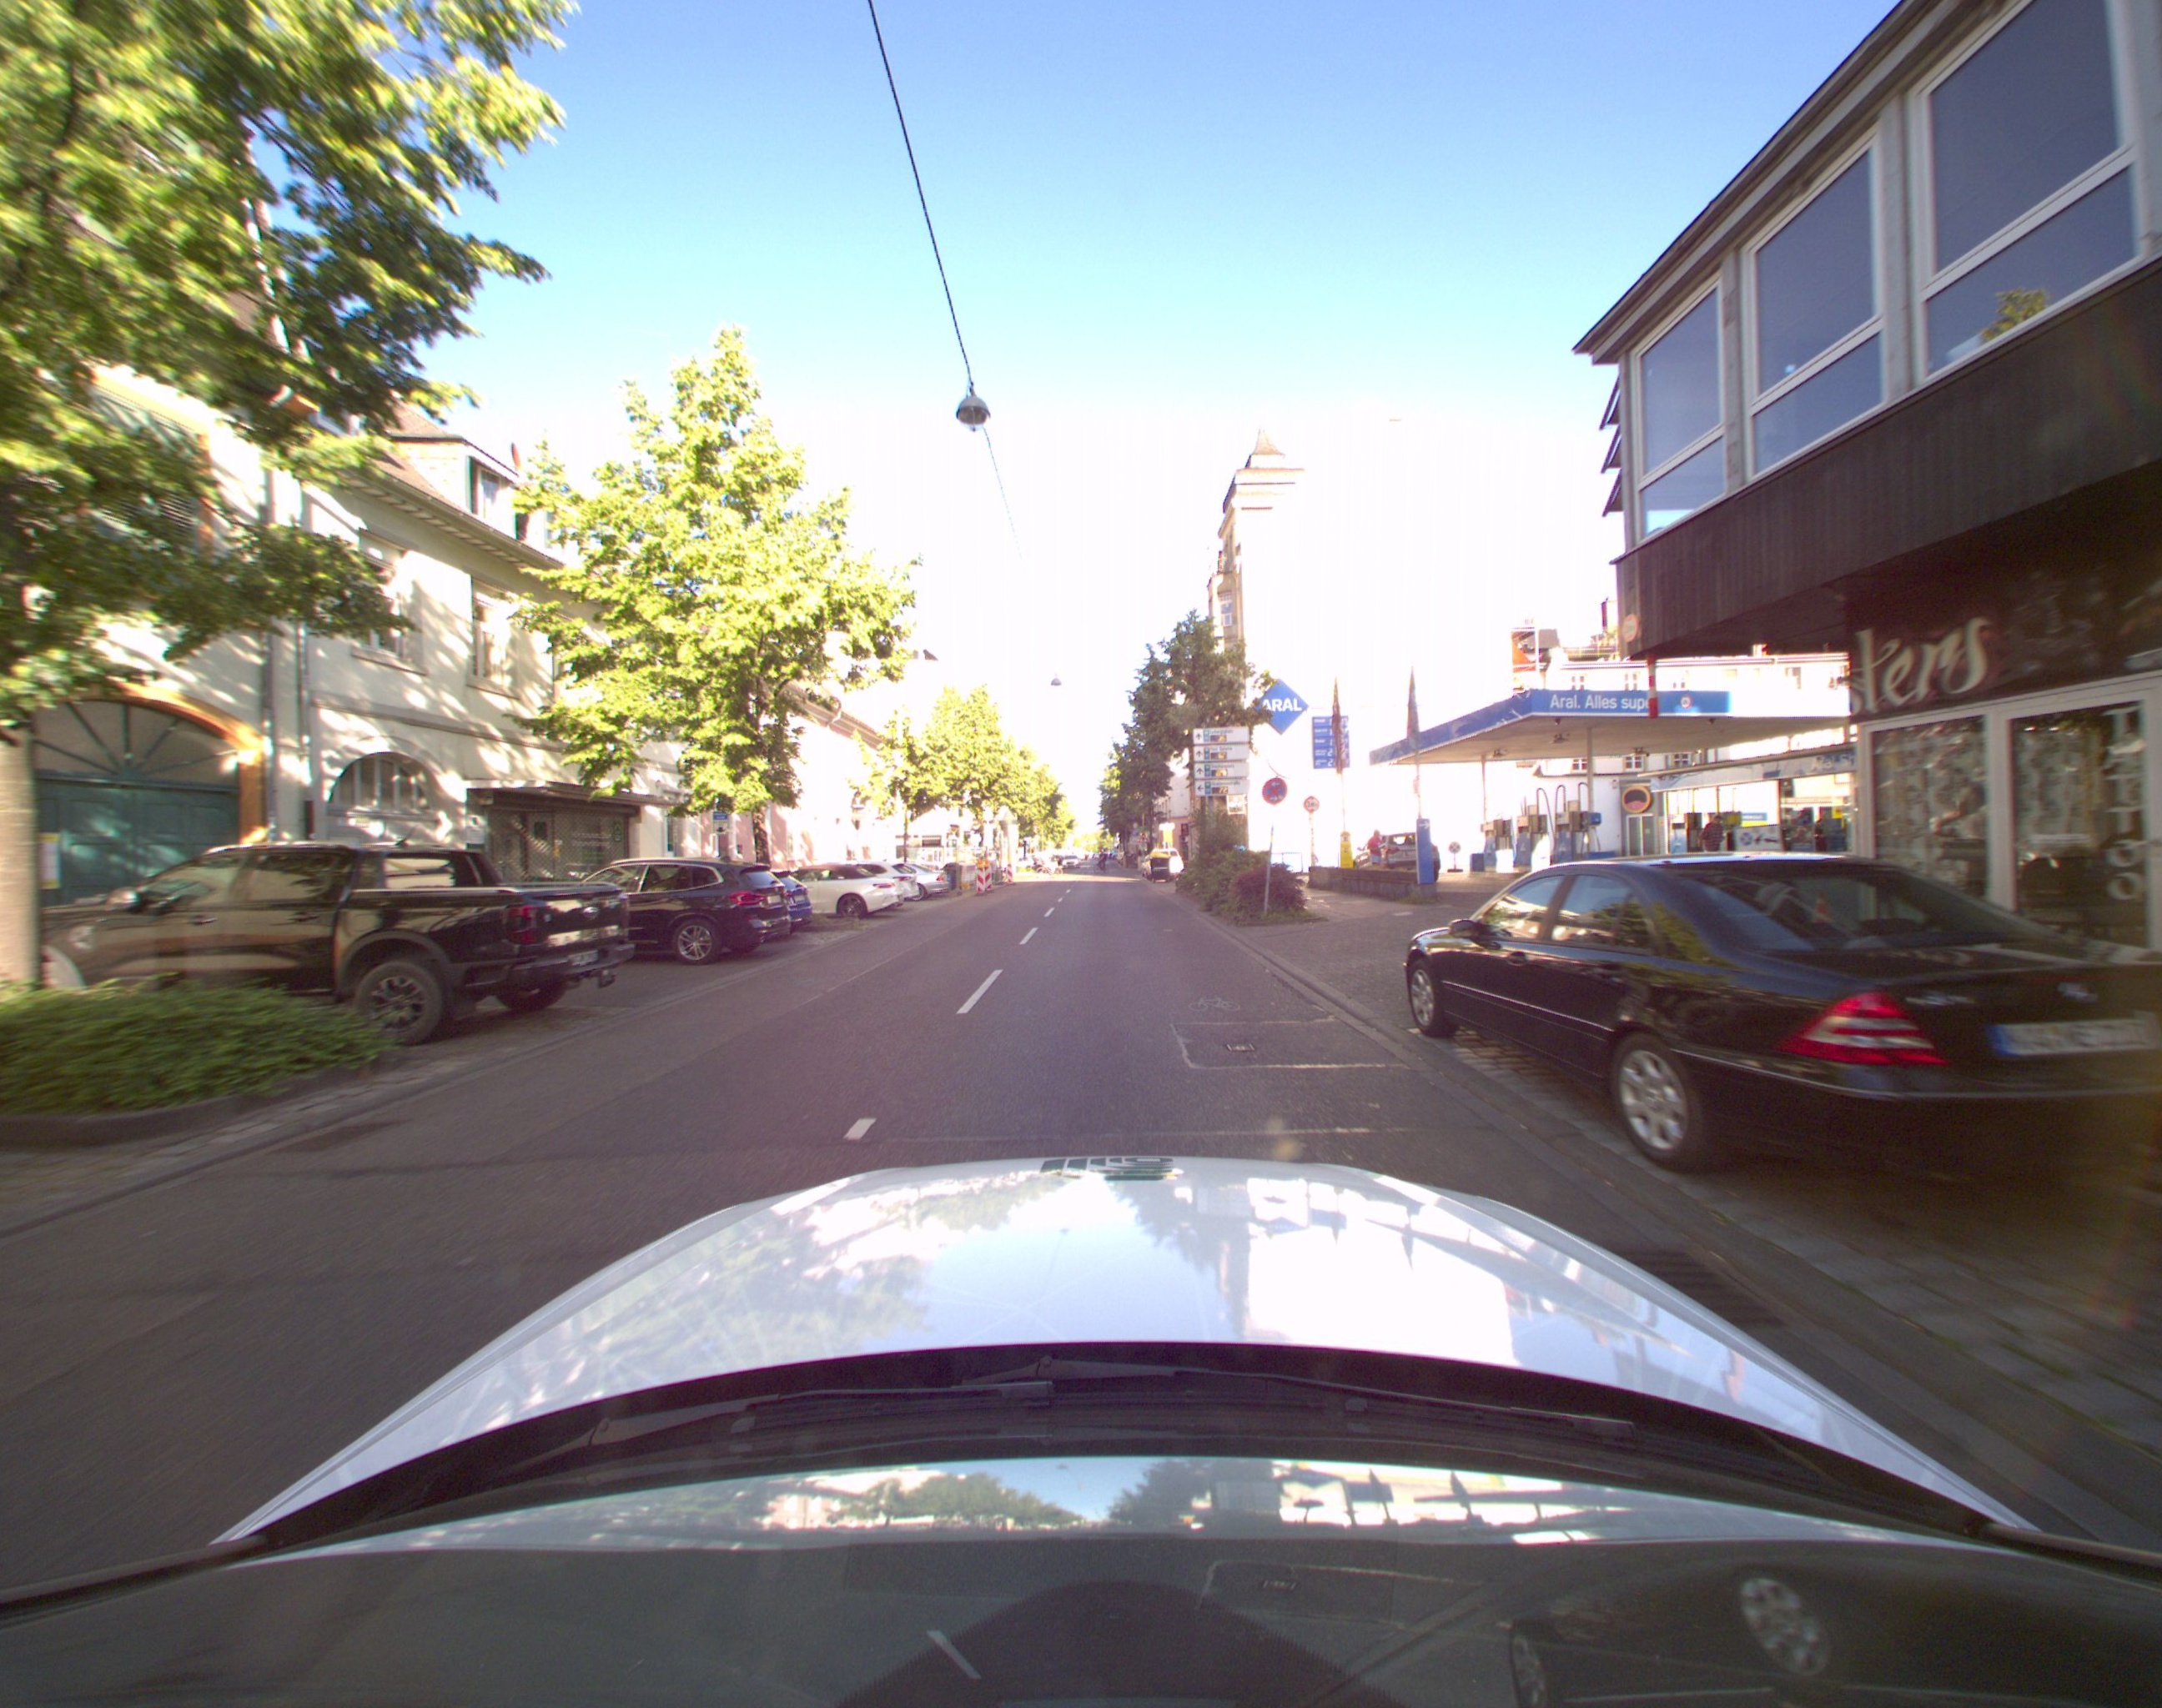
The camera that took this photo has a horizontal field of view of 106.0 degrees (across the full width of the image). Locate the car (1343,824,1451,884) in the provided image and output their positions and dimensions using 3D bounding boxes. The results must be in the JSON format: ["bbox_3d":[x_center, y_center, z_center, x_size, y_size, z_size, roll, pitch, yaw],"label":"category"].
[{"bbox_3d":[9.960,-0.006,26.010,1.893,1.648,4.296,-3,0,3],"label":"car"}]

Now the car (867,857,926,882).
[{"bbox_3d":[-13.699,1.124,60.318,4.001,1.610,1.986,-3,0,-20],"label":"car"}]

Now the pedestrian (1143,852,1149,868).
[{"bbox_3d":[6.976,0.599,86.828,0.545,1.649,0.665,-2,0,2],"label":"pedestrian"}]

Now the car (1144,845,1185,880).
[{"bbox_3d":[4.571,0.442,45.199,1.815,1.679,4.602,-4,0,2],"label":"car"}]

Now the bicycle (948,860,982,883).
[{"bbox_3d":[-6.682,1.012,46.941,1.775,1.252,0.602,-1,0,12],"label":"bicycle"}]

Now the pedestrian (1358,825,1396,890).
[{"bbox_3d":[8.708,0.110,23.961,0.710,1.850,0.683,-3,0,-22],"label":"pedestrian"}]

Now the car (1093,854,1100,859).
[{"bbox_3d":[4.169,0.711,221.571,1.786,1.411,4.001,-2,0,1],"label":"car"}]

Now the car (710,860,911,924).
[{"bbox_3d":[-7.029,0.960,21.518,4.668,1.465,1.807,-1,0,-2],"label":"car"}]

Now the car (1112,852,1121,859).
[{"bbox_3d":[7.733,0.377,178.090,1.987,1.508,4.000,-1,-1,1],"label":"car"}]

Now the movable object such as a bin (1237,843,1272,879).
[{"bbox_3d":[7.849,0.312,36.903,1.267,1.530,1.176,-3,0,-1],"label":"movable object such as a bin"}]

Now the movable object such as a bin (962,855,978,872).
[{"bbox_3d":[-9.855,0.853,72.344,1.168,1.485,1.314,-2,0,-1],"label":"movable object such as a bin"}]

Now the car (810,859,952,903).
[{"bbox_3d":[-7.140,0.961,29.489,4.668,1.412,1.807,-1,0,-2],"label":"car"}]

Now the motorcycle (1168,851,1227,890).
[{"bbox_3d":[4.353,0.603,30.544,1.978,1.330,0.908,-2,0,-11],"label":"motorcycle"}]

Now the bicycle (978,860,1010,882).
[{"bbox_3d":[-5.126,0.981,48.113,1.852,1.252,0.599,-1,0,-7],"label":"bicycle"}]

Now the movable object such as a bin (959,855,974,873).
[{"bbox_3d":[-9.963,0.838,70.889,1.137,1.485,1.235,-2,0,-1],"label":"movable object such as a bin"}]

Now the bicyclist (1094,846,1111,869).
[{"bbox_3d":[1.667,0.256,63.237,0.712,1.693,1.164,-2,0,36],"label":"bicyclist"}]

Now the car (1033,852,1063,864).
[{"bbox_3d":[-4.643,0.565,114.734,3.974,1.500,2.000,-2,0,0],"label":"car"}]

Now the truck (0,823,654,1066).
[{"bbox_3d":[-7.413,0.803,8.188,5.067,1.938,2.000,-3,0,0],"label":"truck"}]

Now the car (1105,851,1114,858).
[{"bbox_3d":[6.909,0.188,197.708,1.987,1.508,4.000,-1,-1,1],"label":"car"}]

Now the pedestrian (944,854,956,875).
[{"bbox_3d":[-10.413,0.845,64.671,0.768,1.643,0.690,-2,0,1],"label":"pedestrian"}]

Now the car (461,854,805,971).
[{"bbox_3d":[-7.234,0.910,13.465,4.662,1.693,1.809,-1,0,2],"label":"car"}]

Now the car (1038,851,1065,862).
[{"bbox_3d":[-4.484,0.407,125.507,3.974,1.500,2.000,-2,0,0],"label":"car"}]

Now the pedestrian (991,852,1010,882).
[{"bbox_3d":[-4.714,0.755,47.771,0.797,1.707,0.759,-1,0,-32],"label":"pedestrian"}]

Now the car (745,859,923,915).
[{"bbox_3d":[-7.183,0.945,24.082,4.668,1.465,1.807,-1,0,-2],"label":"car"}]

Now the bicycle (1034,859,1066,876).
[{"bbox_3d":[-2.060,0.918,54.414,1.959,1.059,0.763,-2,0,-25],"label":"bicycle"}]

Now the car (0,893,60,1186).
[{"bbox_3d":[-7.822,0.999,3.513,4.662,1.463,1.809,-1,0,2],"label":"car"}]

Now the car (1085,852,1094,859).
[{"bbox_3d":[1.827,0.257,177.606,1.816,1.391,4.301,-5,0,0],"label":"car"}]

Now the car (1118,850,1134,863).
[{"bbox_3d":[6.055,0.307,110.090,1.986,1.609,4.001,-2,0,1],"label":"car"}]

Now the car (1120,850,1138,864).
[{"bbox_3d":[5.658,0.331,96.716,1.986,1.609,4.001,-2,0,1],"label":"car"}]

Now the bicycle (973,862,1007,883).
[{"bbox_3d":[-5.184,1.042,46.426,1.852,1.170,0.599,-1,0,-7],"label":"bicycle"}]

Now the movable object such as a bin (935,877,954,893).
[{"bbox_3d":[-5.862,1.330,35.020,0.625,0.616,1.077,-3,0,1],"label":"movable object such as a bin"}]

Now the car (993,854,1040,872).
[{"bbox_3d":[-5.795,0.781,73.267,3.974,1.390,2.000,-2,0,0],"label":"car"}]

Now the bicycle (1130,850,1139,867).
[{"bbox_3d":[5.025,0.425,77.051,0.559,1.441,1.629,-8,0,1],"label":"bicycle"}]

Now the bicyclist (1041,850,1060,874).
[{"bbox_3d":[-2.054,0.551,54.412,1.042,1.560,0.763,-2,0,-25],"label":"bicyclist"}]

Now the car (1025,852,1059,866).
[{"bbox_3d":[-4.806,0.615,100.781,3.974,1.500,2.000,-2,0,0],"label":"car"}]

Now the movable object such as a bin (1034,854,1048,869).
[{"bbox_3d":[-4.232,0.753,85.716,1.330,1.478,1.480,-2,0,1],"label":"movable object such as a bin"}]

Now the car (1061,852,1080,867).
[{"bbox_3d":[-1.101,0.574,87.825,1.797,1.435,4.409,-5,0,0],"label":"car"}]

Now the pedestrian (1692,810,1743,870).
[{"bbox_3d":[18.820,-0.410,24.090,0.815,1.742,0.818,-2,0,-11],"label":"pedestrian"}]

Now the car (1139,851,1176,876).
[{"bbox_3d":[4.719,0.566,50.519,1.816,1.391,4.301,-5,0,0],"label":"car"}]

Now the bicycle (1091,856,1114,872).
[{"bbox_3d":[1.681,0.776,63.233,0.712,1.220,2.049,-2,0,36],"label":"bicycle"}]

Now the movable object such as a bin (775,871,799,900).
[{"bbox_3d":[-11.148,1.200,30.902,0.630,1.060,0.545,-3,0,2],"label":"movable object such as a bin"}]

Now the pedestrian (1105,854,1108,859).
[{"bbox_3d":[5.381,0.492,173.031,0.544,1.026,0.546,-3,0,-1],"label":"pedestrian"}]

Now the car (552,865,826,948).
[{"bbox_3d":[-7.836,1.020,16.553,4.662,1.463,1.809,-1,0,2],"label":"car"}]

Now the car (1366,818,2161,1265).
[{"bbox_3d":[3.533,0.617,5.083,1.894,1.412,4.648,-4,0,1],"label":"car"}]

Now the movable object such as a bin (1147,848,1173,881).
[{"bbox_3d":[3.995,0.515,40.925,1.136,1.562,1.463,-3,0,9],"label":"movable object such as a bin"}]

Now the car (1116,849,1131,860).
[{"bbox_3d":[6.379,0.101,122.728,1.986,1.609,4.001,-2,0,1],"label":"car"}]

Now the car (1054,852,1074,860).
[{"bbox_3d":[-3.315,0.350,159.703,3.974,1.500,2.000,-2,0,0],"label":"car"}]

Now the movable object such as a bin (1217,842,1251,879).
[{"bbox_3d":[7.177,0.288,38.280,1.202,1.627,1.498,-3,0,-1],"label":"movable object such as a bin"}]

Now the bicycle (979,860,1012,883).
[{"bbox_3d":[-4.939,1.002,47.097,1.852,1.252,0.599,-1,0,-7],"label":"bicycle"}]

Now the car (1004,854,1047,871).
[{"bbox_3d":[-5.322,0.823,79.051,3.974,1.390,2.000,-2,0,0],"label":"car"}]

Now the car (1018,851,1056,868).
[{"bbox_3d":[-4.974,0.582,91.963,3.967,1.694,2.003,-2,0,5],"label":"car"}]
